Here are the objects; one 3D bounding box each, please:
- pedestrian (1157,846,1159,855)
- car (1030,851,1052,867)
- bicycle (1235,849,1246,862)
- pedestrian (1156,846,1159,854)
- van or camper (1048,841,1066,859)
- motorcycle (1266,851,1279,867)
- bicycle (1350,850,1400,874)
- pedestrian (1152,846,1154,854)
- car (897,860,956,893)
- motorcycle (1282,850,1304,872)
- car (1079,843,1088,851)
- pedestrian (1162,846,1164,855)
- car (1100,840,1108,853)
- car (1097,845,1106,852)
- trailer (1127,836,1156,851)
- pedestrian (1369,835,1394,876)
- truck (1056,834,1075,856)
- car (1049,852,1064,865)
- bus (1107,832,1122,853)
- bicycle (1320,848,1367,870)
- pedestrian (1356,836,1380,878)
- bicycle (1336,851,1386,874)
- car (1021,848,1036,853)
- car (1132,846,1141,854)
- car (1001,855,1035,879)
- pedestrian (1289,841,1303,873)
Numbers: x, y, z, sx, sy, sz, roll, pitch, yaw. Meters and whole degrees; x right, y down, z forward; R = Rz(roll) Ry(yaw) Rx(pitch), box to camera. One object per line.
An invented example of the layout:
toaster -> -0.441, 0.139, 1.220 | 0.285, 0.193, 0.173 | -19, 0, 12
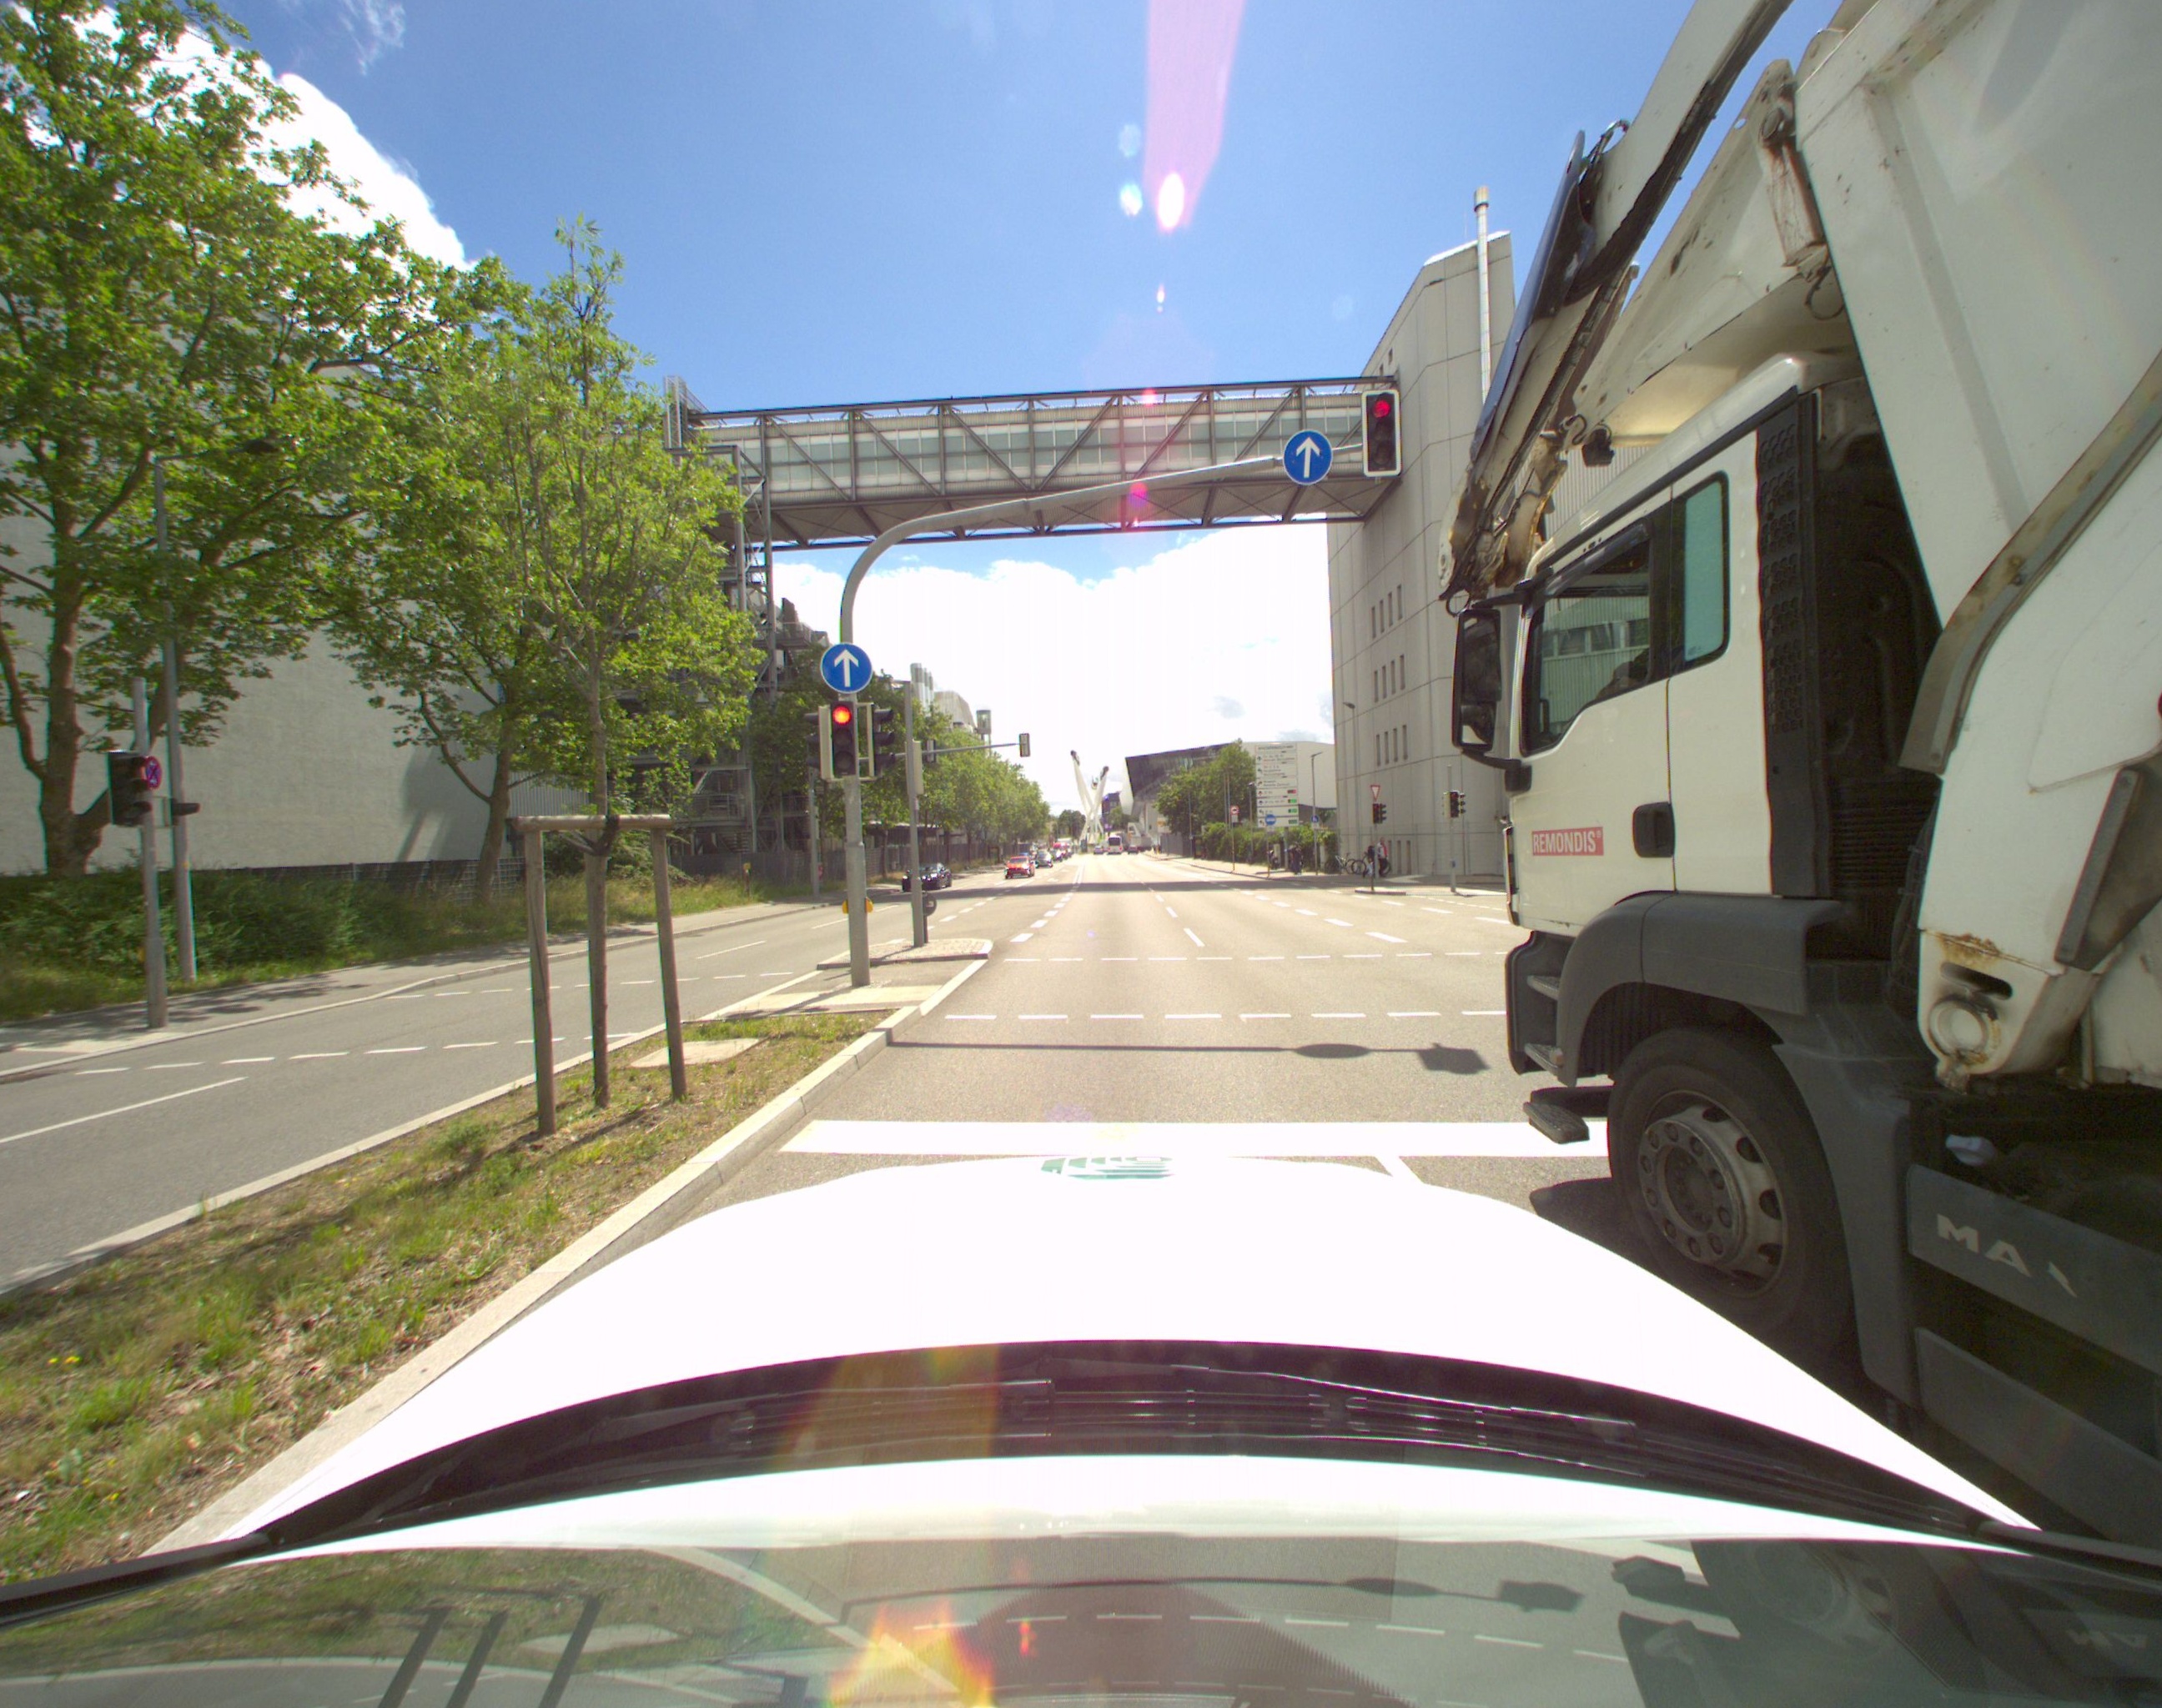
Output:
pedestrian -> 12.726, -0.603, 134.587 | 0.384, 1.421, 0.424 | 0, -1, 2
car -> -3.926, 0.480, 80.277 | 1.762, 1.420, 3.704 | -4, 0, 3
bicycle -> 12.732, 0.165, 65.138 | 0.417, 1.022, 1.911 | 0, -1, -2
pedestrian -> 12.824, -0.706, 136.236 | 0.384, 1.421, 0.424 | 0, -1, 2
van or camper -> -3.457, -0.565, 117.802 | 2.038, 2.466, 5.598 | -1, 0, 3
motorcycle -> 12.181, 0.328, 51.879 | 0.455, 1.022, 1.914 | 0, -1, 4
bicycle -> 13.853, 0.381, 38.406 | 2.166, 1.086, 0.480 | -1, -1, 37
pedestrian -> 12.113, -0.679, 137.078 | 0.384, 1.421, 0.424 | 0, -1, 2
car -> -8.111, 1.135, 43.288 | 1.910, 1.488, 4.775 | -4, 0, 3
motorcycle -> 11.657, 0.388, 44.902 | 0.418, 1.166, 1.951 | 0, -1, -9
car -> 0.449, -1.319, 155.698 | 1.551, 1.273, 3.704 | -4, 0, 3
pedestrian -> 13.537, -0.627, 134.607 | 0.384, 1.421, 0.424 | 0, -1, 2
car -> 4.833, -1.609, 171.214 | 1.837, 2.624, 4.001 | 0, -1, 1
car -> 3.729, -1.017, 148.835 | 1.551, 1.273, 3.704 | -4, 0, 3
trailer -> 12.803, -2.206, 172.099 | 3.291, 2.995, 10.429 | -1, -1, 21
pedestrian -> 13.552, 0.084, 36.738 | 0.697, 1.793, 0.703 | -4, 0, -41
truck -> -2.477, -1.424, 131.168 | 2.581, 3.324, 7.083 | 0, -1, 3
car -> -3.078, 0.528, 103.191 | 1.551, 1.448, 3.775 | -4, 0, 3
bus -> 6.218, -2.038, 150.111 | 2.776, 3.686, 6.947 | 0, -1, 3
bicycle -> 13.090, 0.269, 40.712 | 2.196, 1.086, 0.480 | -1, -1, 37
pedestrian -> 12.799, 0.146, 36.313 | 0.647, 1.793, 0.703 | -4, 0, -42
bicycle -> 13.524, 0.392, 39.368 | 2.196, 1.086, 0.480 | -1, -1, 37
car -> -14.372, -0.971, 222.758 | 3.723, 1.273, 1.543 | -4, 0, -45
car -> 9.893, -0.760, 146.168 | 1.551, 1.273, 3.704 | -4, 0, 3
car -> -4.165, 0.857, 54.520 | 1.762, 1.420, 3.704 | -4, 0, 3
pedestrian -> 11.138, 0.168, 42.225 | 0.532, 1.640, 0.657 | 0, -1, -4
